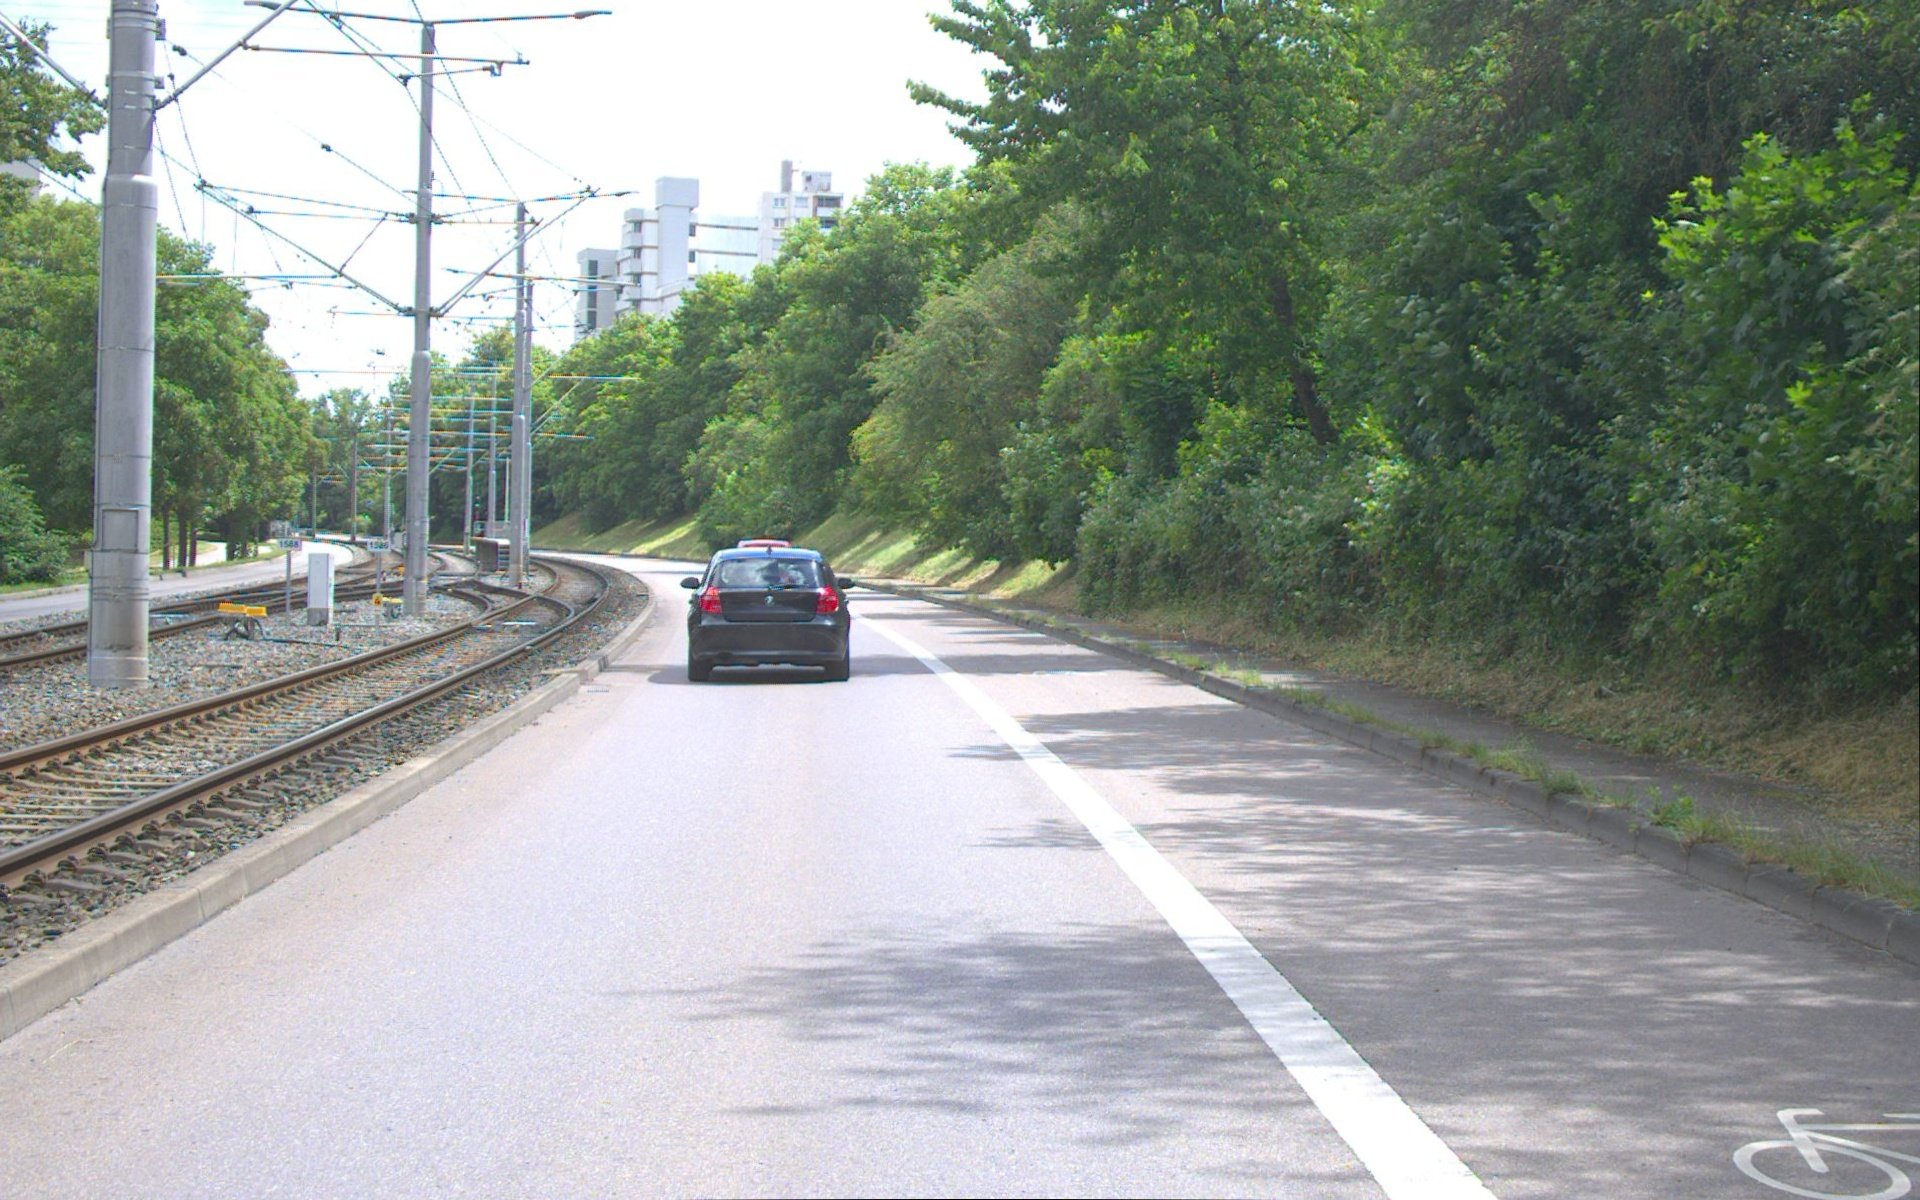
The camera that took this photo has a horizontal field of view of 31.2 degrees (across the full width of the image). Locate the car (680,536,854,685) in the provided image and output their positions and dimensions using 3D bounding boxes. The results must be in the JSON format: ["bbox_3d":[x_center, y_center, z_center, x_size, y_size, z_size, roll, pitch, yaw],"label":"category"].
[{"bbox_3d":[-2.048,0.099,37.382,1.708,1.455,3.960,3,0,-2],"label":"car"}]

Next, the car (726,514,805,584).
[{"bbox_3d":[-4.365,-1.133,77.414,1.624,1.438,3.421,2,0,-2],"label":"car"}]
